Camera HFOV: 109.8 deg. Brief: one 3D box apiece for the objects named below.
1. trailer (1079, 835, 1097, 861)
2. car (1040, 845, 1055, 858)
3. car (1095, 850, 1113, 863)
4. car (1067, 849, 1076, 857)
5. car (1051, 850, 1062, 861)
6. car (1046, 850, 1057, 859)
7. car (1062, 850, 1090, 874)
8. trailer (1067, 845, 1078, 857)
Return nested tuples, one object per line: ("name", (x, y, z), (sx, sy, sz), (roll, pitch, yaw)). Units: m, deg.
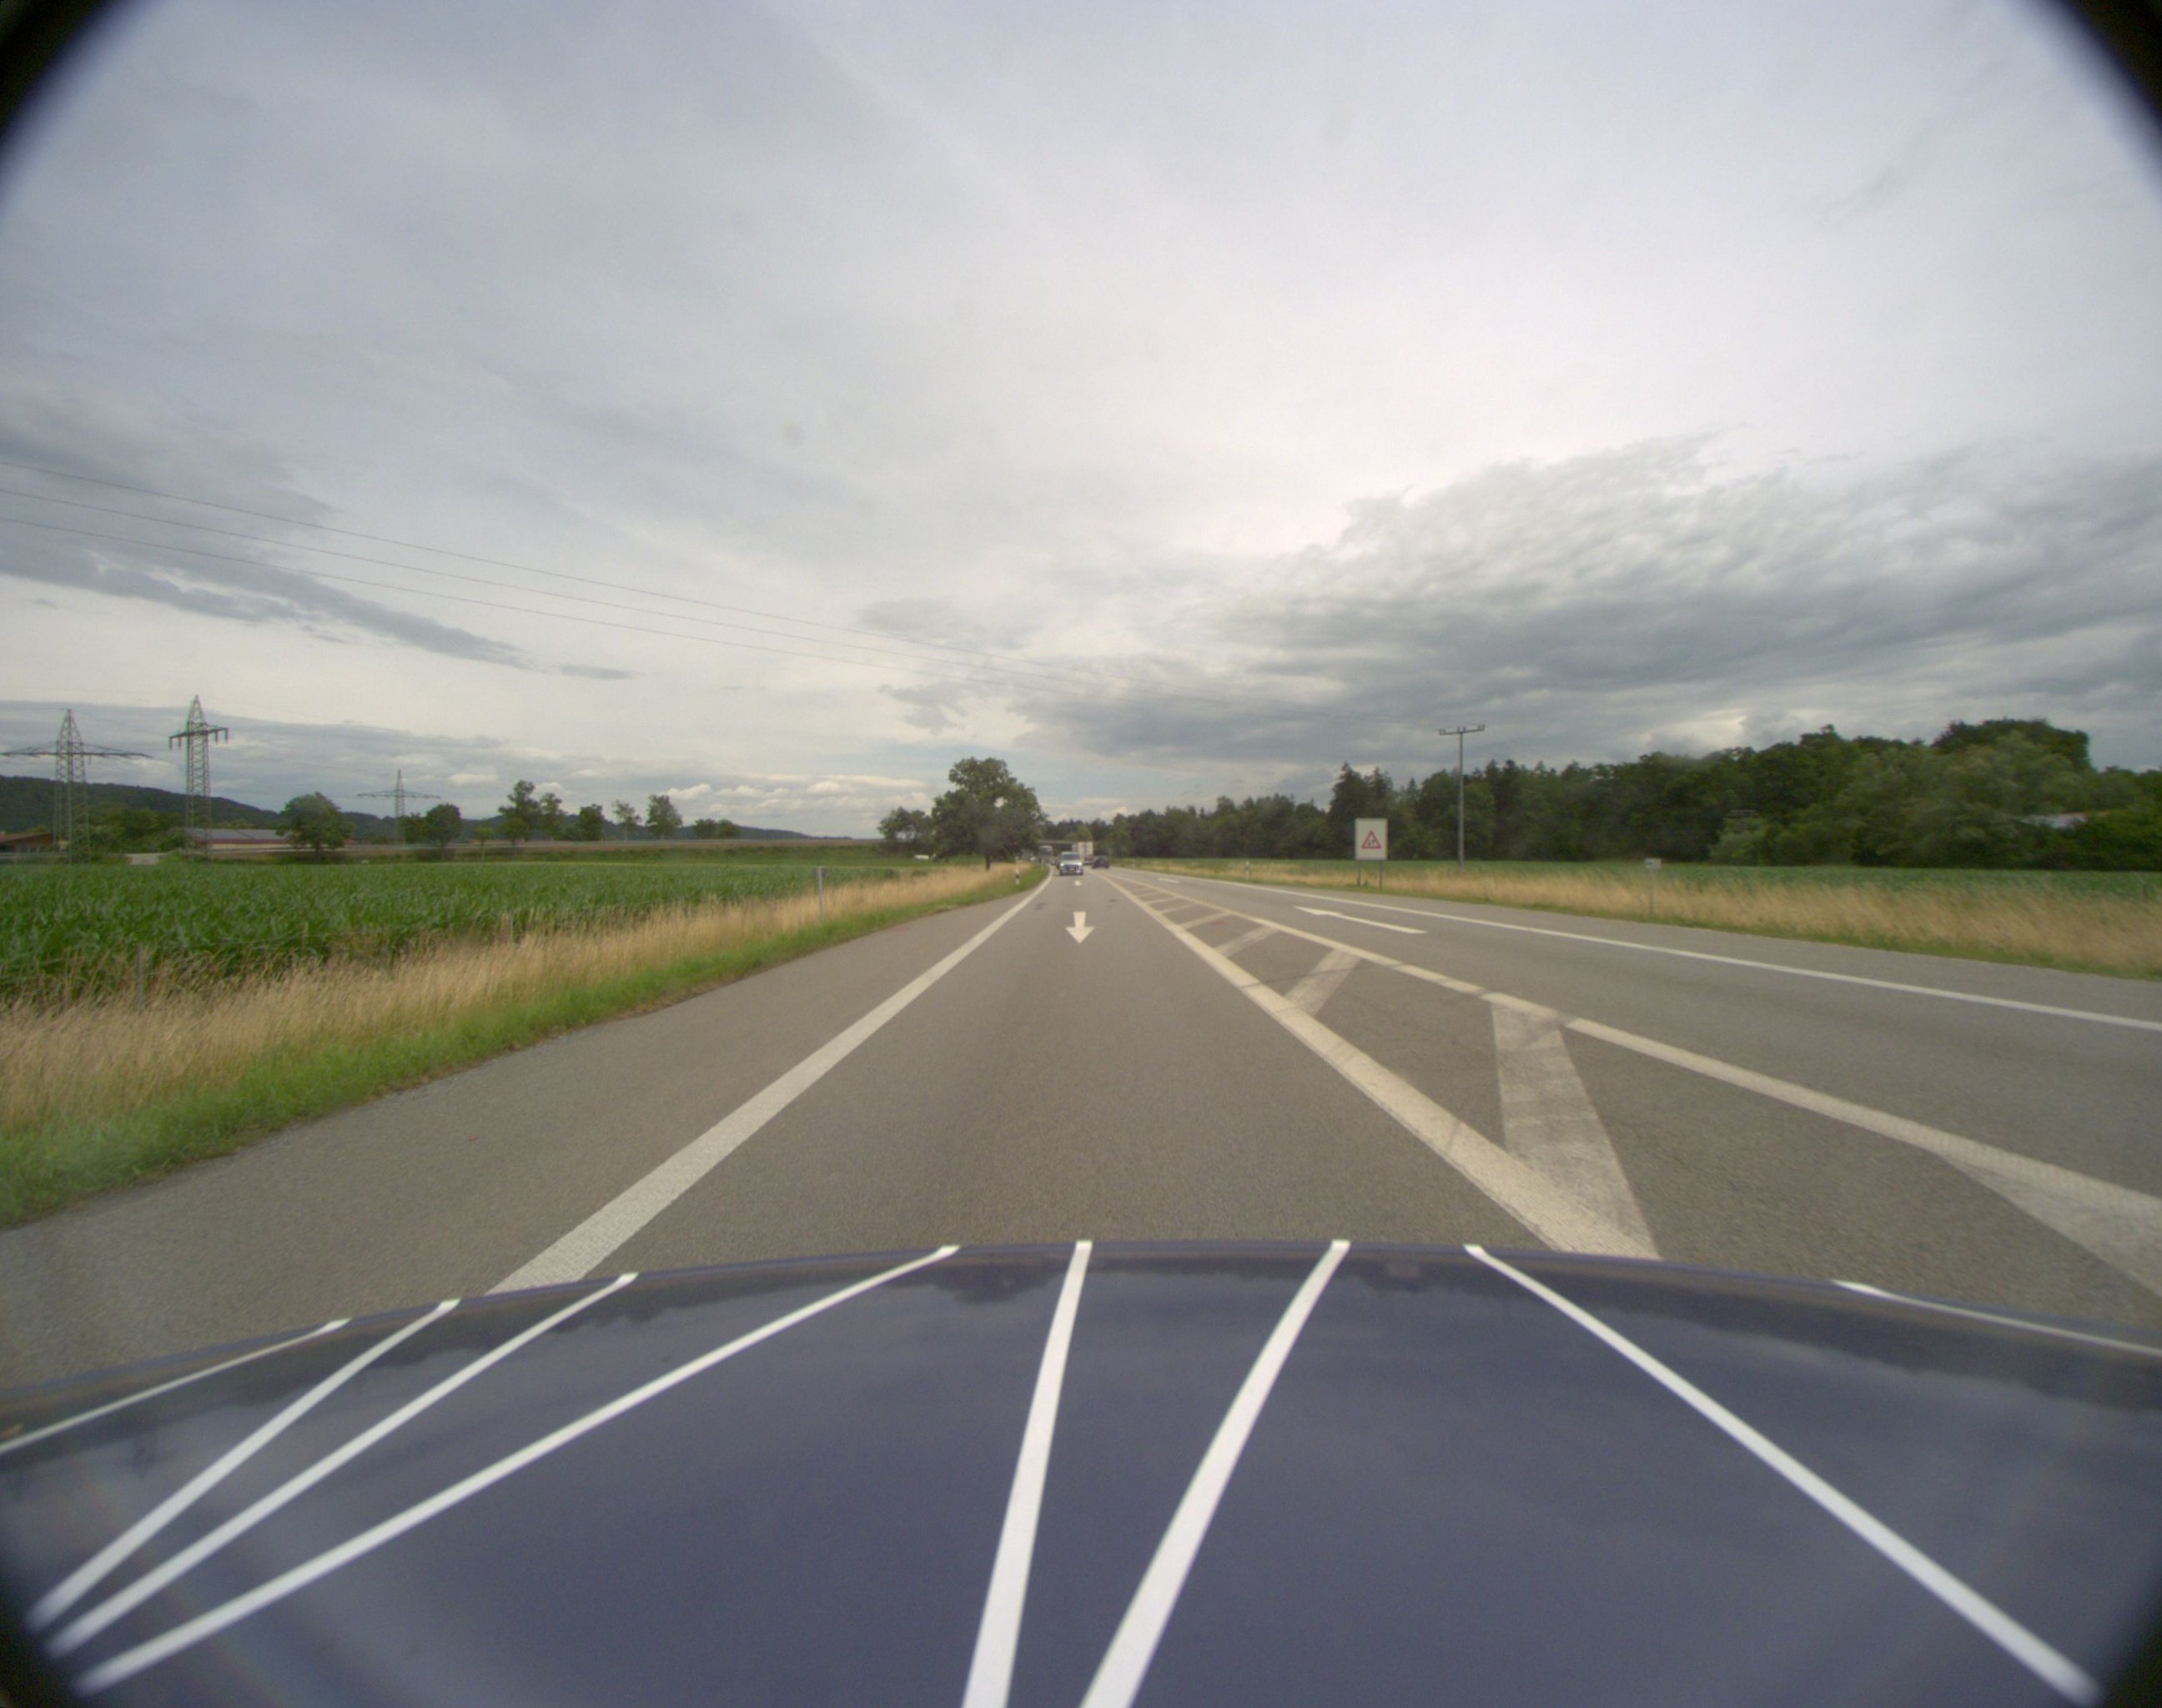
("trailer", (1.139, -0.905, 126.068), (2.496, 3.972, 13.074), (-1, 0, -1))
("car", (-4.557, -0.375, 103.805), (1.862, 1.679, 4.112), (-2, 1, -1))
("car", (2.732, 0.294, 92.496), (1.862, 1.470, 5.196), (-2, 1, -1))
("car", (-2.180, -0.301, 176.097), (2.011, 1.648, 4.325), (-2, 1, -3))
("car", (-4.373, 0.250, 134.387), (1.862, 1.679, 4.112), (-2, 1, -1))
("car", (-6.974, 0.041, 180.143), (1.998, 2.002, 4.000), (-2, 1, 3))
("car", (-0.459, 0.630, 62.730), (1.924, 1.823, 3.997), (-2, 1, -6))
("trailer", (-1.973, -0.655, 170.783), (2.188, 2.560, 6.241), (-2, 1, -3))
